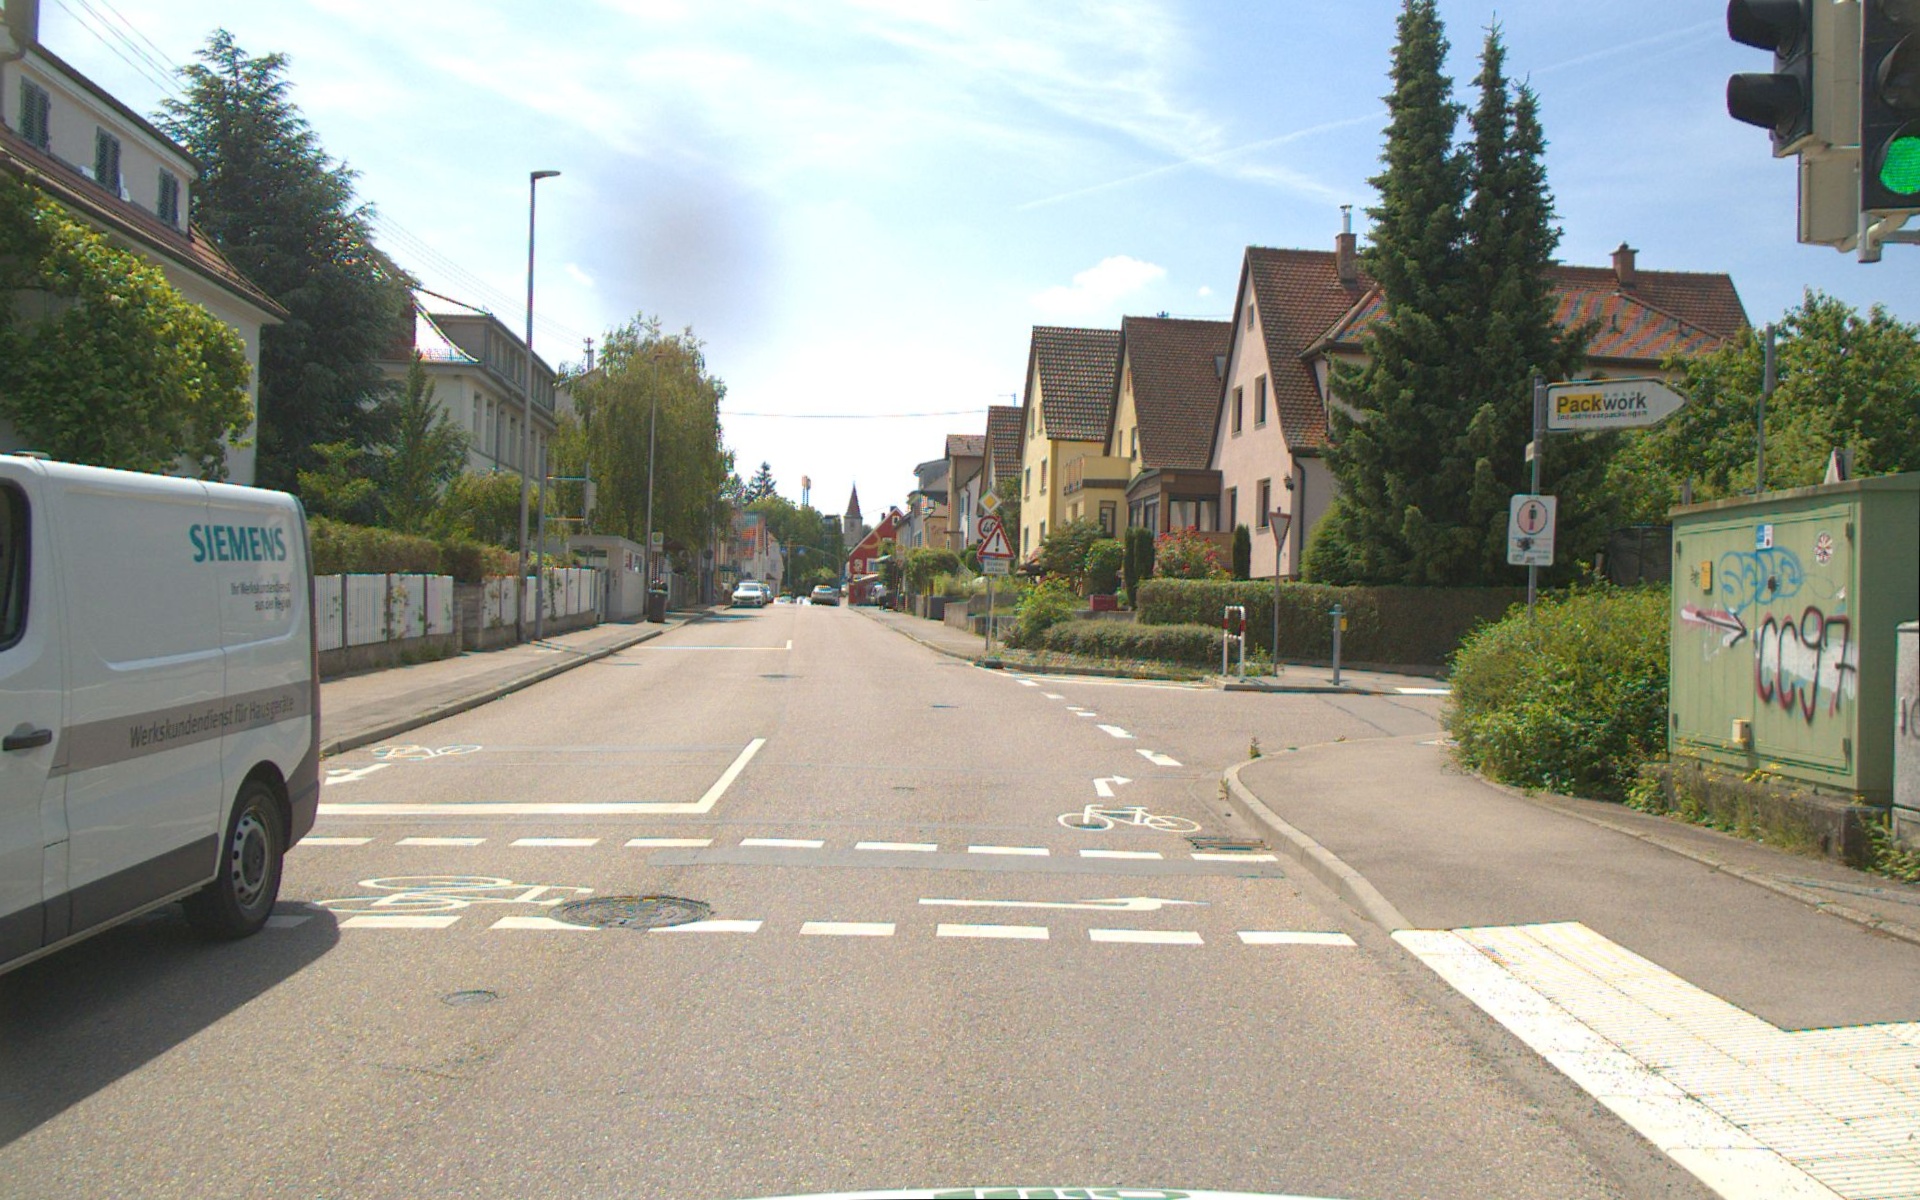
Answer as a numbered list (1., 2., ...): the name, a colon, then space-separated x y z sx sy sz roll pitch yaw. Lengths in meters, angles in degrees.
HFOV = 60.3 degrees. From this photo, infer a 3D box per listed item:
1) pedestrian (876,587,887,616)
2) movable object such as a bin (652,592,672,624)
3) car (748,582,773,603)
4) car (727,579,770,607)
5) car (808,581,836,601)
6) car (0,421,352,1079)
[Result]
1. pedestrian: -4.721 0.076 99.715 0.633 1.760 0.608 -1 1 -6
2. movable object such as a bin: -10.278 0.277 57.053 0.596 1.064 0.724 2 2 -6
3. car: -16.151 -0.599 134.213 1.955 1.588 4.308 1 0 -6
4. car: -12.587 -0.444 98.698 2.067 1.588 4.313 1 1 -1
5. car: -11.278 -0.747 134.853 1.956 1.588 4.305 1 1 -9
6. car: -3.839 0.452 5.546 1.841 1.999 4.902 0 0 -1
